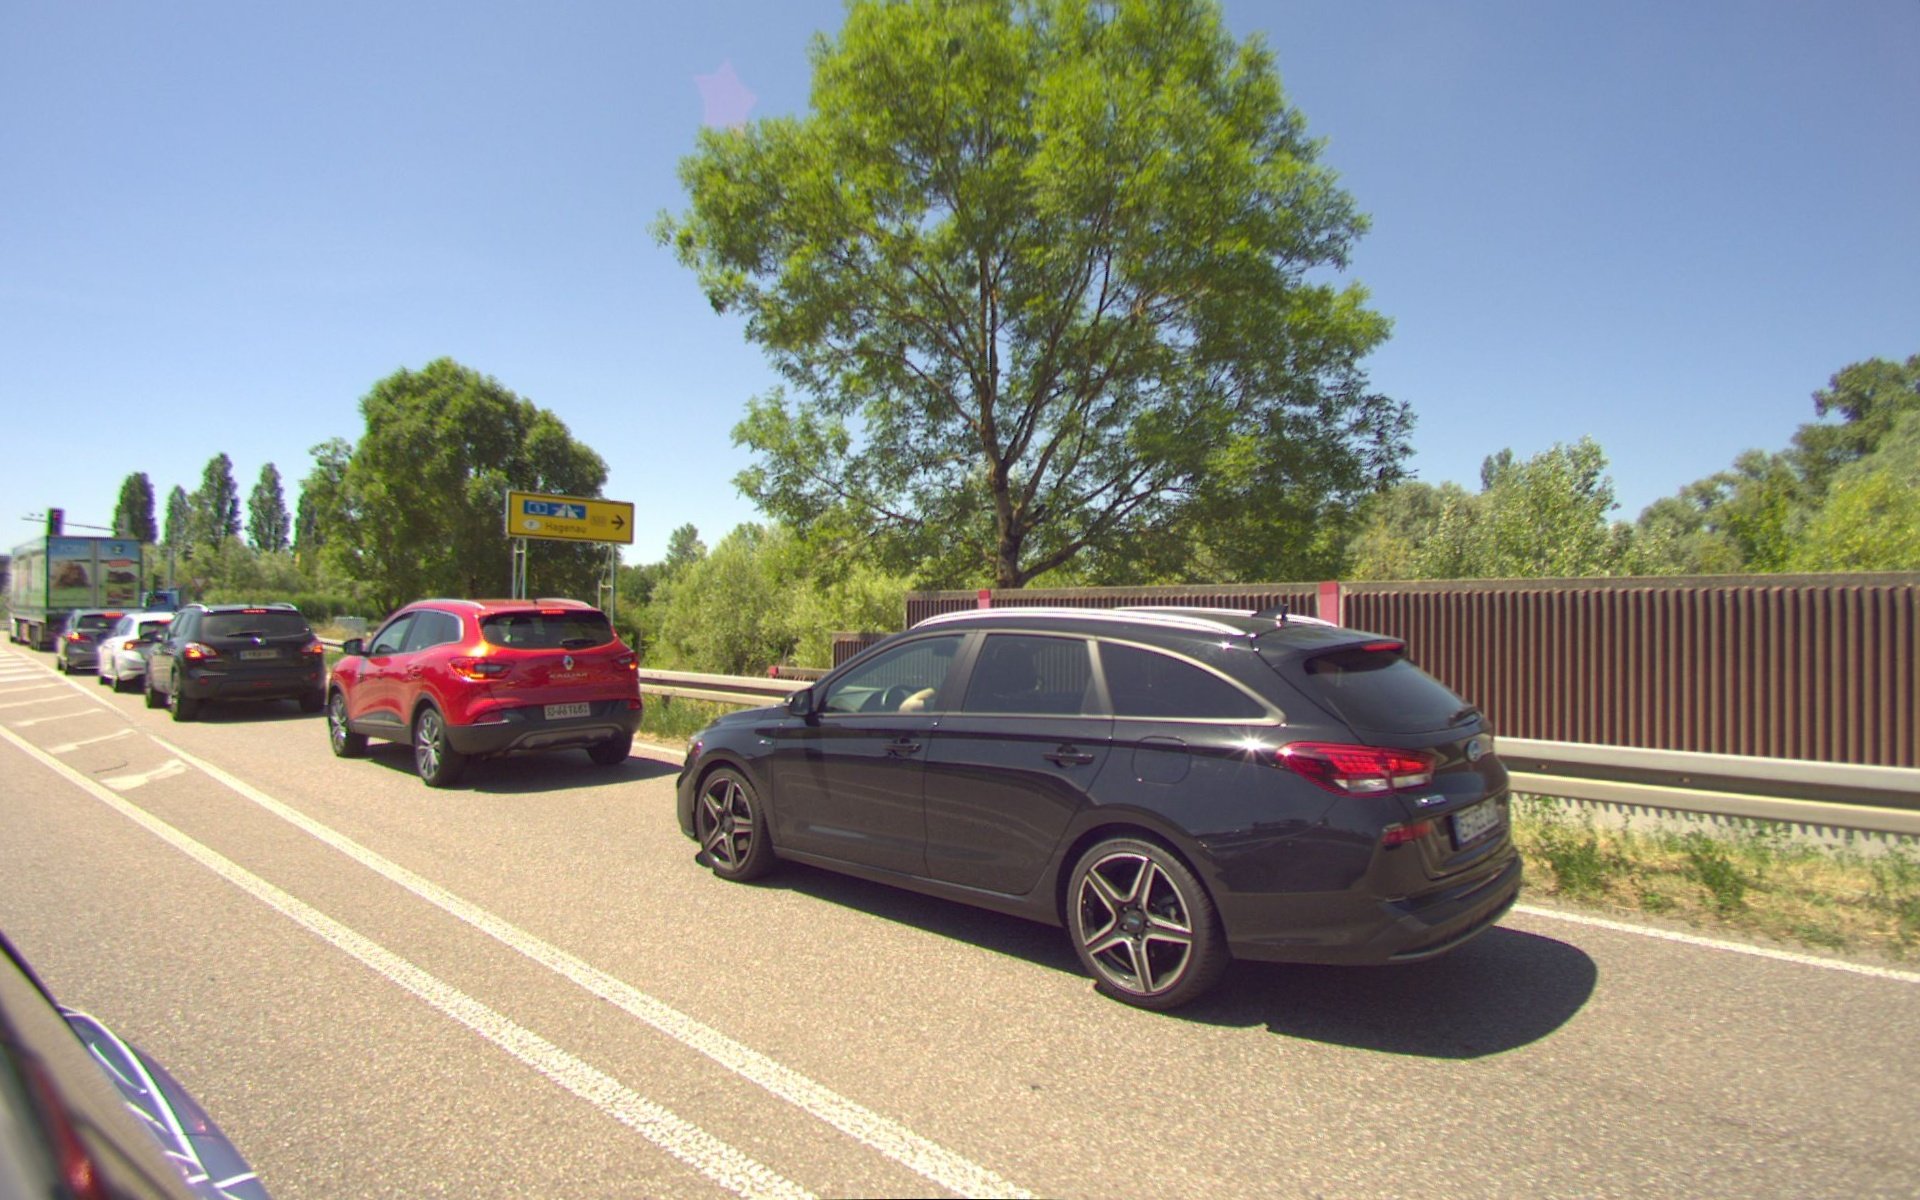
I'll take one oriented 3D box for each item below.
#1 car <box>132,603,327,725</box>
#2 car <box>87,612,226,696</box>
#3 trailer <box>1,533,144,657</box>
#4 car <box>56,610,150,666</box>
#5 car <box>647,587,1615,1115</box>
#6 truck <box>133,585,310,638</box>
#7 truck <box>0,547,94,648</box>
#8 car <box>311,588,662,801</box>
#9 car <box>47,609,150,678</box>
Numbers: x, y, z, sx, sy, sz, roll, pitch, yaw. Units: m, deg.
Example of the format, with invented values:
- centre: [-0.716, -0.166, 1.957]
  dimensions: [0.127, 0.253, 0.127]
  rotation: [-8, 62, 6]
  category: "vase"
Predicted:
- centre: [-11.269, 0.873, 15.474]
  dimensions: [4.536, 1.601, 1.697]
  rotation: [-1, -1, 45]
  category: "car"
- centre: [-15.997, 0.987, 20.063]
  dimensions: [4.632, 1.490, 1.634]
  rotation: [-1, -1, 45]
  category: "car"
- centre: [-34.603, -0.120, 39.152]
  dimensions: [14.123, 4.075, 2.660]
  rotation: [-1, 0, 43]
  category: "trailer"
- centre: [-25.922, 1.110, 30.577]
  dimensions: [4.155, 1.573, 1.693]
  rotation: [-1, -1, 43]
  category: "car"
- centre: [0.378, 0.721, 5.035]
  dimensions: [4.617, 1.471, 1.667]
  rotation: [-1, -1, 44]
  category: "car"
- centre: [-48.696, 0.866, 67.019]
  dimensions: [2.694, 3.220, 9.053]
  rotation: [-1, -2, 40]
  category: "truck"
- centre: [-39.685, -0.081, 43.810]
  dimensions: [5.825, 4.075, 2.660]
  rotation: [-1, -1, 42]
  category: "truck"
- centre: [-4.800, 0.768, 9.940]
  dimensions: [4.280, 1.644, 1.736]
  rotation: [-1, -1, 44]
  category: "car"
- centre: [-21.350, 1.034, 25.028]
  dimensions: [1.605, 1.549, 4.387]
  rotation: [2, -3, -44]
  category: "car"
